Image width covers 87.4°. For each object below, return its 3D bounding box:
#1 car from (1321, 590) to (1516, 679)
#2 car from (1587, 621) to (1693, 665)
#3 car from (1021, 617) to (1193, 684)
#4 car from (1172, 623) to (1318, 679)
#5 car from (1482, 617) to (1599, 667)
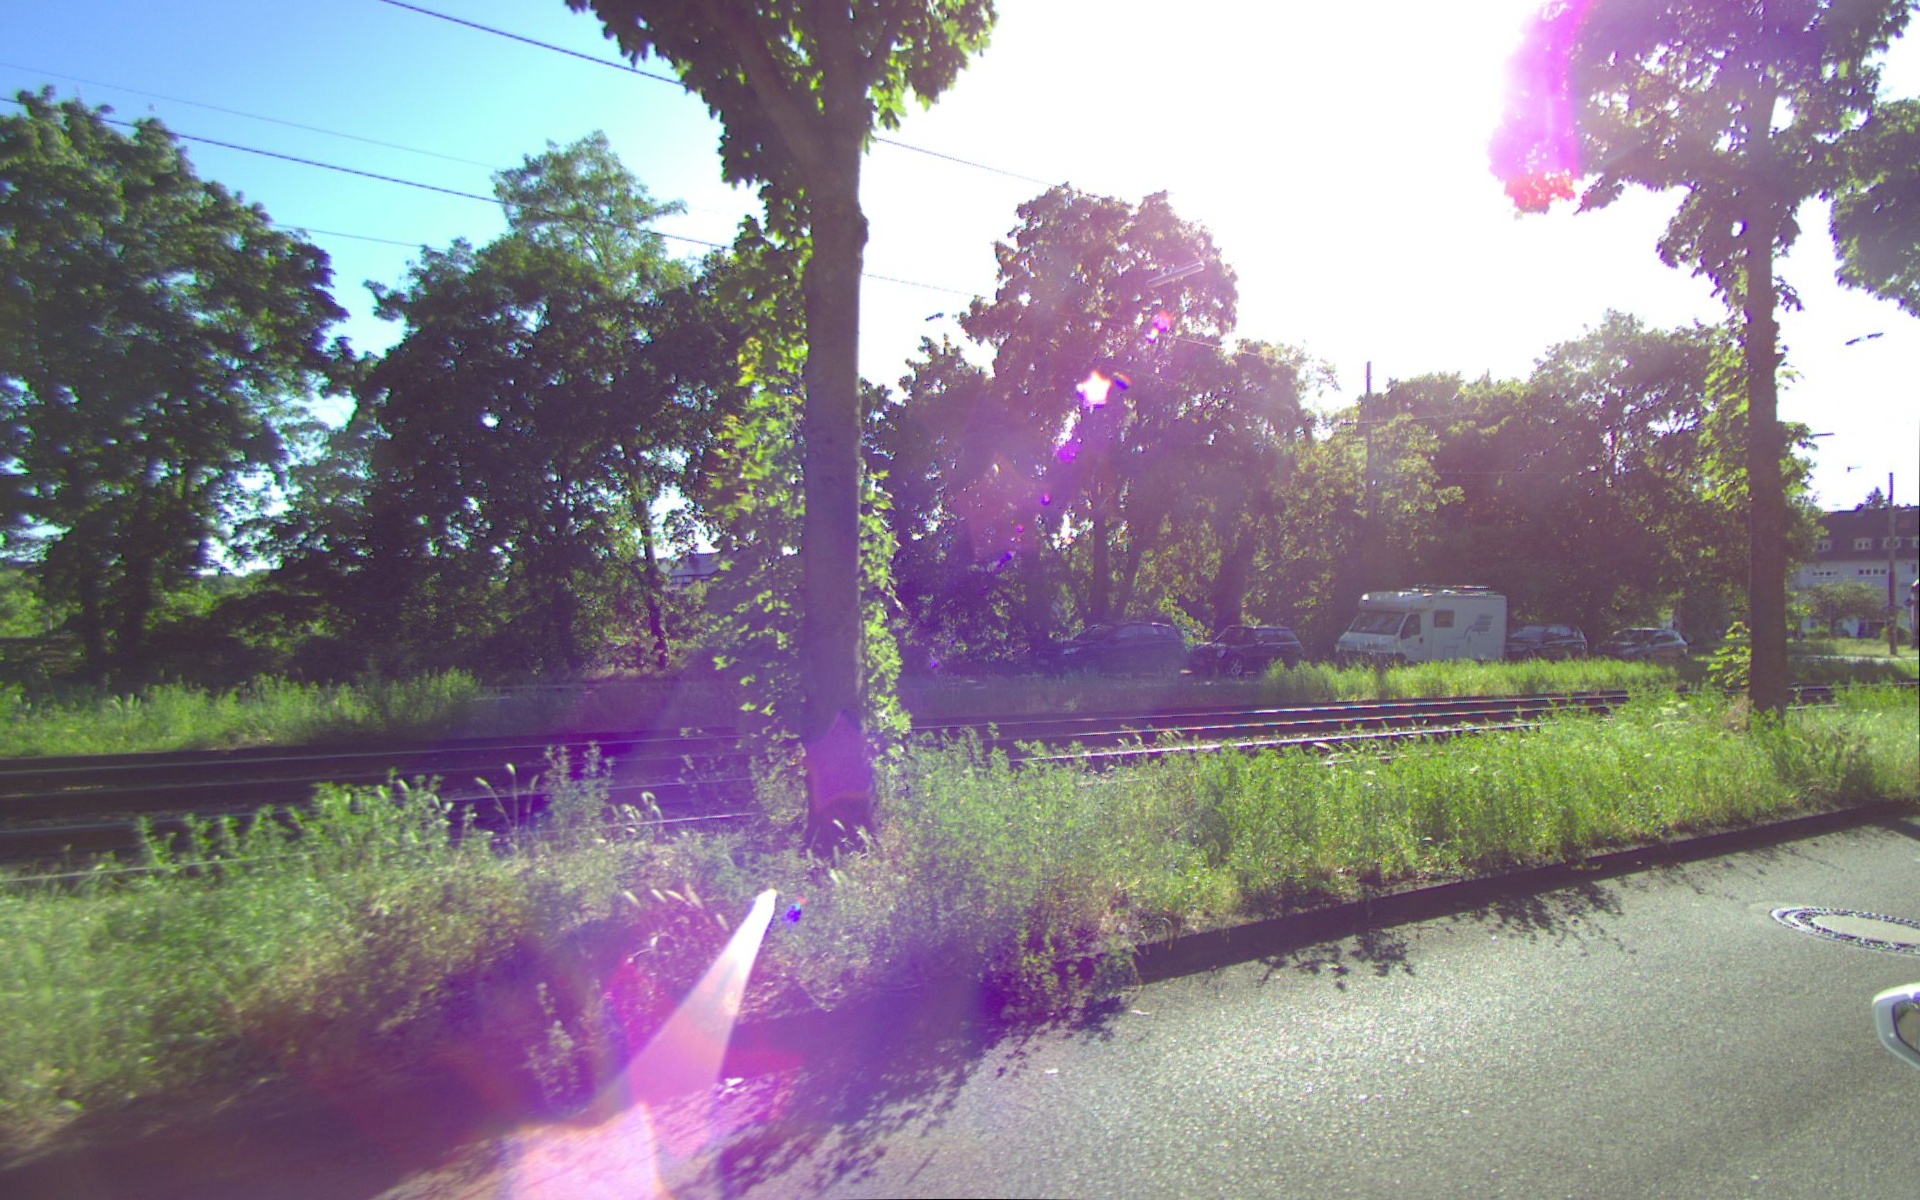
[{"bbox_3d":[14.756,1.050,32.168,6.718,2.615,2.215,1,1,-30],"label":"car"},{"bbox_3d":[26.537,1.686,39.196,4.196,1.605,1.667,2,0,-29],"label":"car"},{"bbox_3d":[3.867,1.312,26.302,4.229,1.584,1.760,2,0,-28],"label":"car"},{"bbox_3d":[8.190,1.455,28.808,3.952,1.454,1.703,2,0,-29],"label":"car"},{"bbox_3d":[20.731,1.508,35.821,4.480,1.644,1.614,2,0,-31],"label":"car"}]
